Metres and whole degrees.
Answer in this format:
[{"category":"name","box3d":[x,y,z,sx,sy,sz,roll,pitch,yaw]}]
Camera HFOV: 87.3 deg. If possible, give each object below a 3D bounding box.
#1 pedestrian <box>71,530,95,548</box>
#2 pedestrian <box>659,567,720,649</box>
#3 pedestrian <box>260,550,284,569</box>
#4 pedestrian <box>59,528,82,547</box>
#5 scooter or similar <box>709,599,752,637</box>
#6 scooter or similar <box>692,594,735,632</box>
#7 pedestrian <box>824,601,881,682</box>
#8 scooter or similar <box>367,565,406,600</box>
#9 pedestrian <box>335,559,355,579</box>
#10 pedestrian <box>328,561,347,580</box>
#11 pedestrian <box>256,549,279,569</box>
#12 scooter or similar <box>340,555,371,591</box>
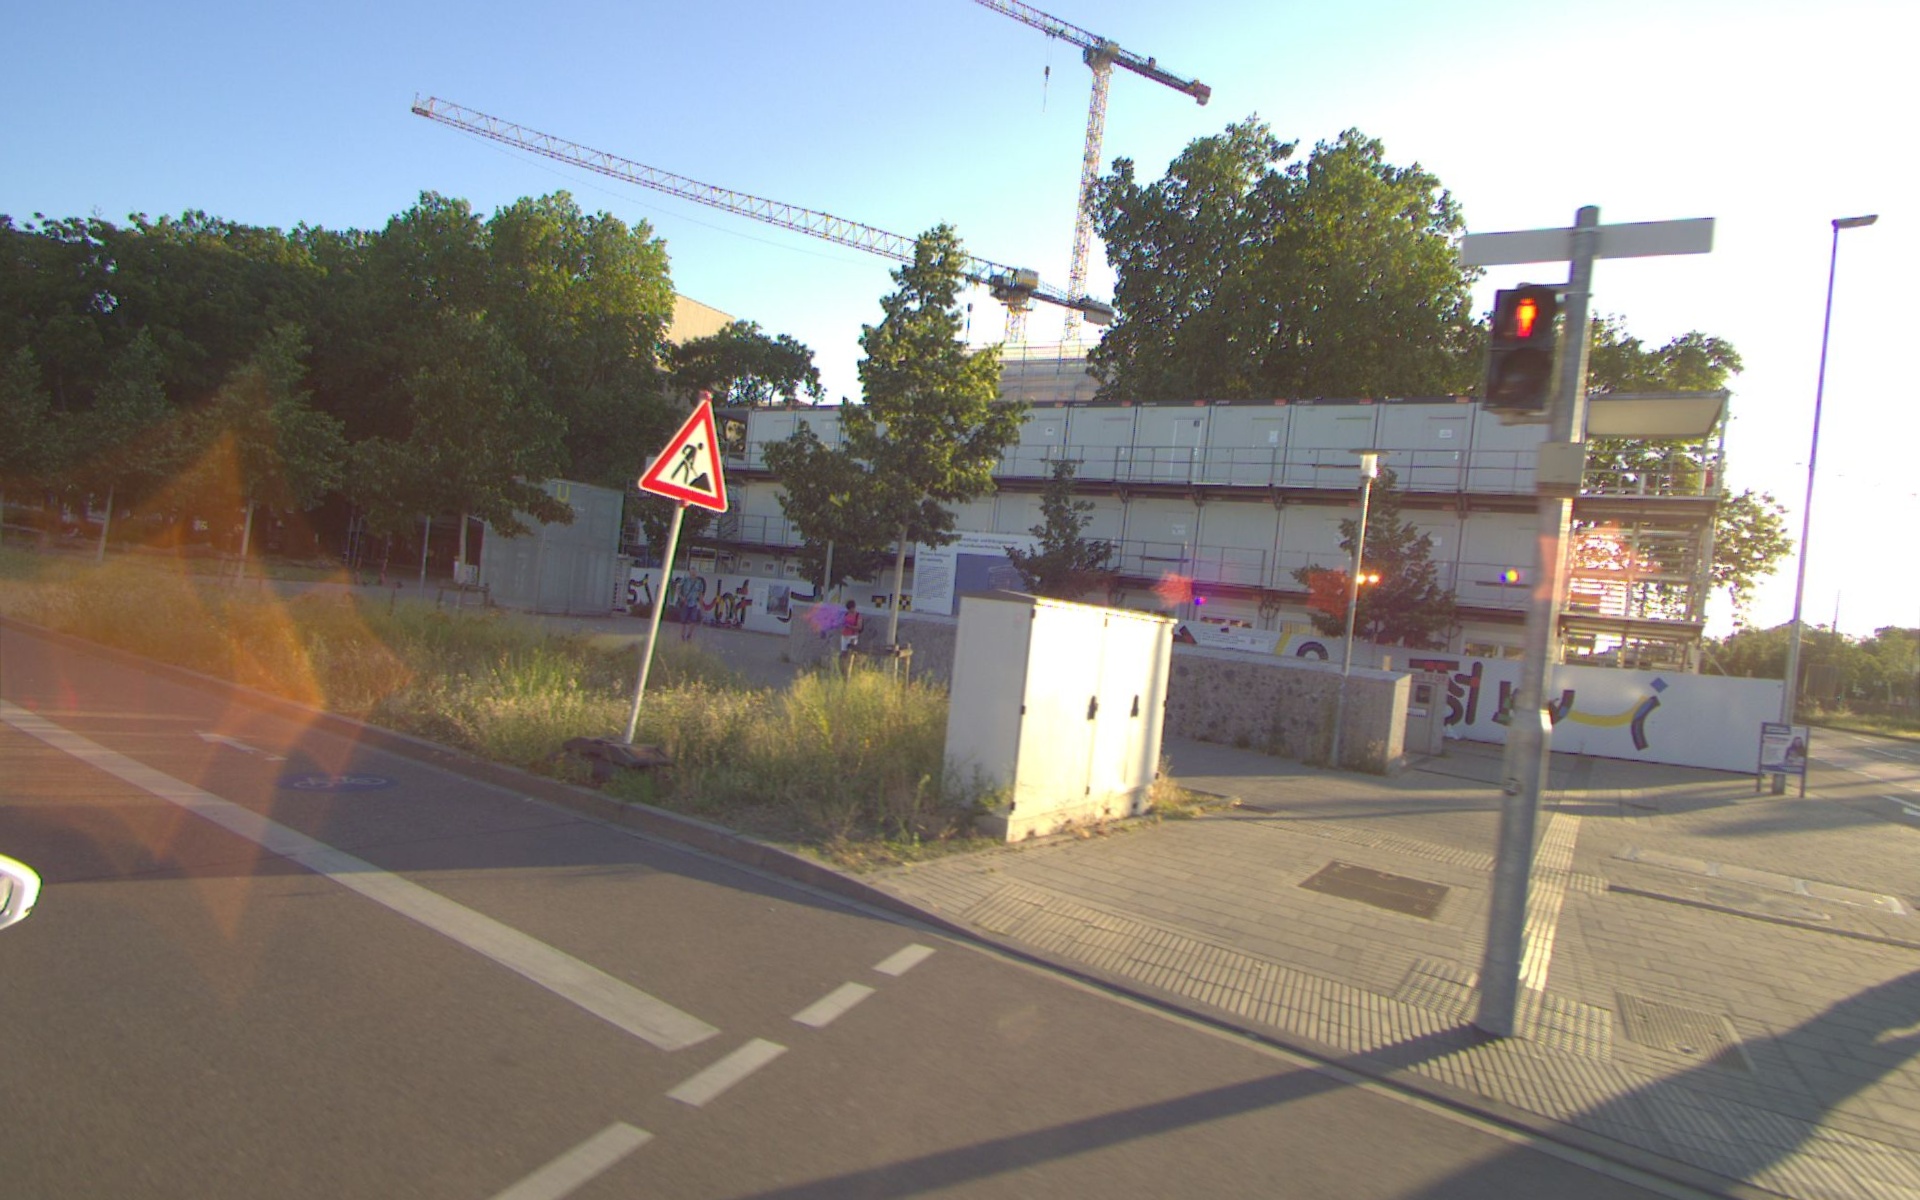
[{"category":"pedestrian","box3d":[-47.972,-3.350,55.038,0.611,0.895,0.681,6,0,11]},{"category":"pedestrian","box3d":[-6.480,0.193,24.102,1.031,1.838,0.813,7,1,39]},{"category":"pedestrian","box3d":[-49.729,-2.919,72.676,0.891,1.276,1.131,5,0,36]},{"category":"pedestrian","box3d":[-48.648,-3.413,54.999,0.582,0.895,0.681,6,0,9]},{"category":"scooter or similar","box3d":[-8.297,0.674,36.427,0.467,1.235,1.572,5,-1,31]},{"category":"scooter or similar","box3d":[-9.002,0.497,36.792,0.467,1.235,1.572,5,-1,31]},{"category":"pedestrian","box3d":[-2.133,0.834,19.992,0.634,1.510,0.760,8,2,31]},{"category":"scooter or similar","box3d":[-21.962,-0.660,38.511,1.547,1.237,0.473,5,3,27]},{"category":"pedestrian","box3d":[-41.072,-2.065,67.190,0.753,1.179,0.787,5,0,28]},{"category":"pedestrian","box3d":[-41.831,-1.979,67.608,0.753,1.179,0.787,5,0,28]},{"category":"pedestrian","box3d":[-50.450,-2.993,73.277,0.714,1.276,1.131,6,0,36]},{"category":"scooter or similar","box3d":[-22.508,-1.023,37.471,1.376,1.237,0.423,6,3,34]}]
